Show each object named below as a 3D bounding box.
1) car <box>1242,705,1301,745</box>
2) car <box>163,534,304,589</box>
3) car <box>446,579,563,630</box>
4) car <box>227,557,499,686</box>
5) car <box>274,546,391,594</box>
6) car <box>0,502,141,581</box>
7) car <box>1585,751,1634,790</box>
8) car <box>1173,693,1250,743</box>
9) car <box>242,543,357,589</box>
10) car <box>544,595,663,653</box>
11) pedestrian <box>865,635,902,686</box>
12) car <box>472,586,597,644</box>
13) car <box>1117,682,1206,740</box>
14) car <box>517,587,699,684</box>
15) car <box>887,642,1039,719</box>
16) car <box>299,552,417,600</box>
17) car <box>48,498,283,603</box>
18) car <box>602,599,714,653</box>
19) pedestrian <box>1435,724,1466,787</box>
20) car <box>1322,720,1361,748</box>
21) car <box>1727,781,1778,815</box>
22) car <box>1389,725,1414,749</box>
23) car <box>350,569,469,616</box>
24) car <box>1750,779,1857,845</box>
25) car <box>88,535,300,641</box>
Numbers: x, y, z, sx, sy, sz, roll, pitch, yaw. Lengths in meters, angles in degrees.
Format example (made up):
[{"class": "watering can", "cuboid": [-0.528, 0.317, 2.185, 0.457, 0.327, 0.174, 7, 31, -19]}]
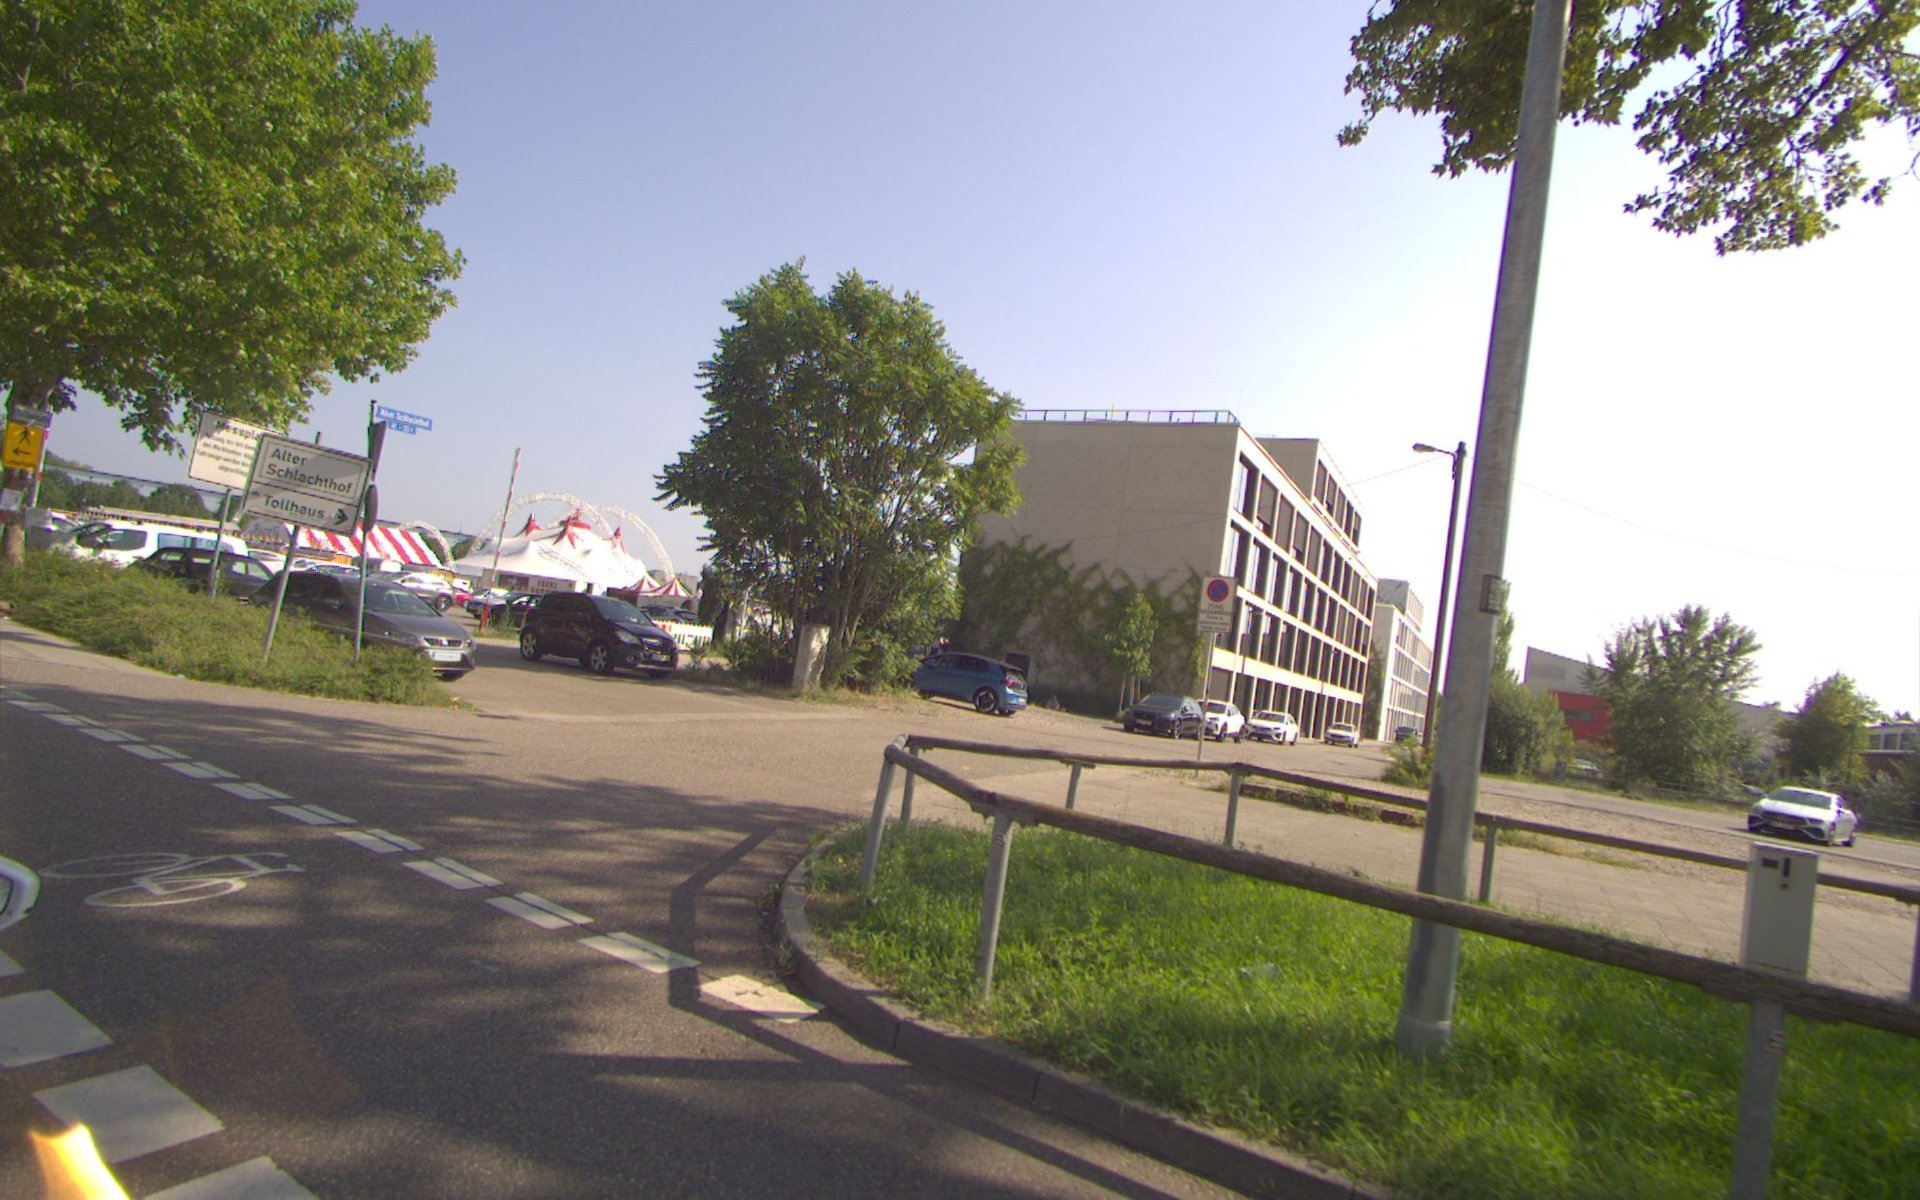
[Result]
[{"class": "car", "cuboid": [14.624, 5.888, 47.125, 1.678, 1.460, 3.797, 7, -4, 31]}, {"class": "car", "cuboid": [-30.729, -1.592, 42.689, 1.914, 1.479, 4.360, 7, -4, 28]}, {"class": "car", "cuboid": [-19.268, 0.221, 42.701, 1.916, 1.479, 3.996, 6, -4, 34]}, {"class": "car", "cuboid": [-9.708, 0.325, 16.277, 4.474, 1.465, 1.732, 7, -2, 31]}, {"class": "car", "cuboid": [-30.471, -1.431, 48.993, 1.914, 1.479, 4.360, 7, -4, 28]}, {"class": "car", "cuboid": [-24.685, -1.653, 26.683, 1.966, 1.603, 4.000, 7, -4, 29]}, {"class": "car", "cuboid": [41.900, 10.945, 64.982, 1.964, 2.035, 4.003, 6, -4, 25]}, {"class": "car", "cuboid": [9.539, 4.490, 37.952, 1.678, 1.460, 3.797, 7, -4, 31]}, {"class": "car", "cuboid": [-33.373, -1.684, 50.933, 1.914, 1.479, 4.360, 7, -4, 28]}, {"class": "car", "cuboid": [-13.270, 0.878, 37.387, 4.047, 1.508, 1.819, 7, -3, 30]}, {"class": "pedestrian", "cuboid": [-2.662, 2.099, 34.971, 0.921, 1.661, 0.697, 8, -2, -27]}, {"class": "car", "cuboid": [-14.849, 0.521, 35.071, 4.047, 1.410, 1.819, 7, -3, 30]}, {"class": "car", "cuboid": [6.756, 3.727, 33.387, 1.717, 1.500, 3.798, 7, -4, 29]}, {"class": "car", "cuboid": [-7.803, 0.770, 22.229, 3.732, 1.593, 1.611, 7, -2, 31]}, {"class": "car", "cuboid": [0.086, 2.342, 29.378, 3.886, 1.592, 1.711, 7, -4, 25]}, {"class": "car", "cuboid": [-28.599, -1.122, 47.932, 1.914, 1.479, 4.360, 7, -4, 28]}, {"class": "car", "cuboid": [-19.754, -1.169, 25.195, 1.818, 1.940, 4.110, 7, -2, 33]}, {"class": "car", "cuboid": [-11.966, 1.007, 39.773, 4.047, 1.508, 1.819, 7, -3, 30]}, {"class": "pedestrian", "cuboid": [13.154, 4.166, 26.986, 0.510, 1.597, 0.501, 7, -2, 20]}, {"class": "car", "cuboid": [25.119, 8.821, 66.174, 1.678, 1.460, 3.797, 7, -4, 31]}, {"class": "car", "cuboid": [56.307, 14.019, 71.548, 1.966, 1.900, 4.003, 9, -4, 29]}, {"class": "car", "cuboid": [44.643, 13.814, 101.655, 1.677, 2.071, 3.797, 7, -4, 30]}, {"class": "car", "cuboid": [-25.856, -0.322, 47.385, 1.916, 1.479, 4.401, 6, -4, 34]}, {"class": "car", "cuboid": [23.555, 5.908, 28.058, 3.758, 1.398, 1.666, 11, -4, -41]}, {"class": "car", "cuboid": [-14.679, -0.246, 19.239, 4.048, 1.465, 1.732, 7, -2, 31]}]
